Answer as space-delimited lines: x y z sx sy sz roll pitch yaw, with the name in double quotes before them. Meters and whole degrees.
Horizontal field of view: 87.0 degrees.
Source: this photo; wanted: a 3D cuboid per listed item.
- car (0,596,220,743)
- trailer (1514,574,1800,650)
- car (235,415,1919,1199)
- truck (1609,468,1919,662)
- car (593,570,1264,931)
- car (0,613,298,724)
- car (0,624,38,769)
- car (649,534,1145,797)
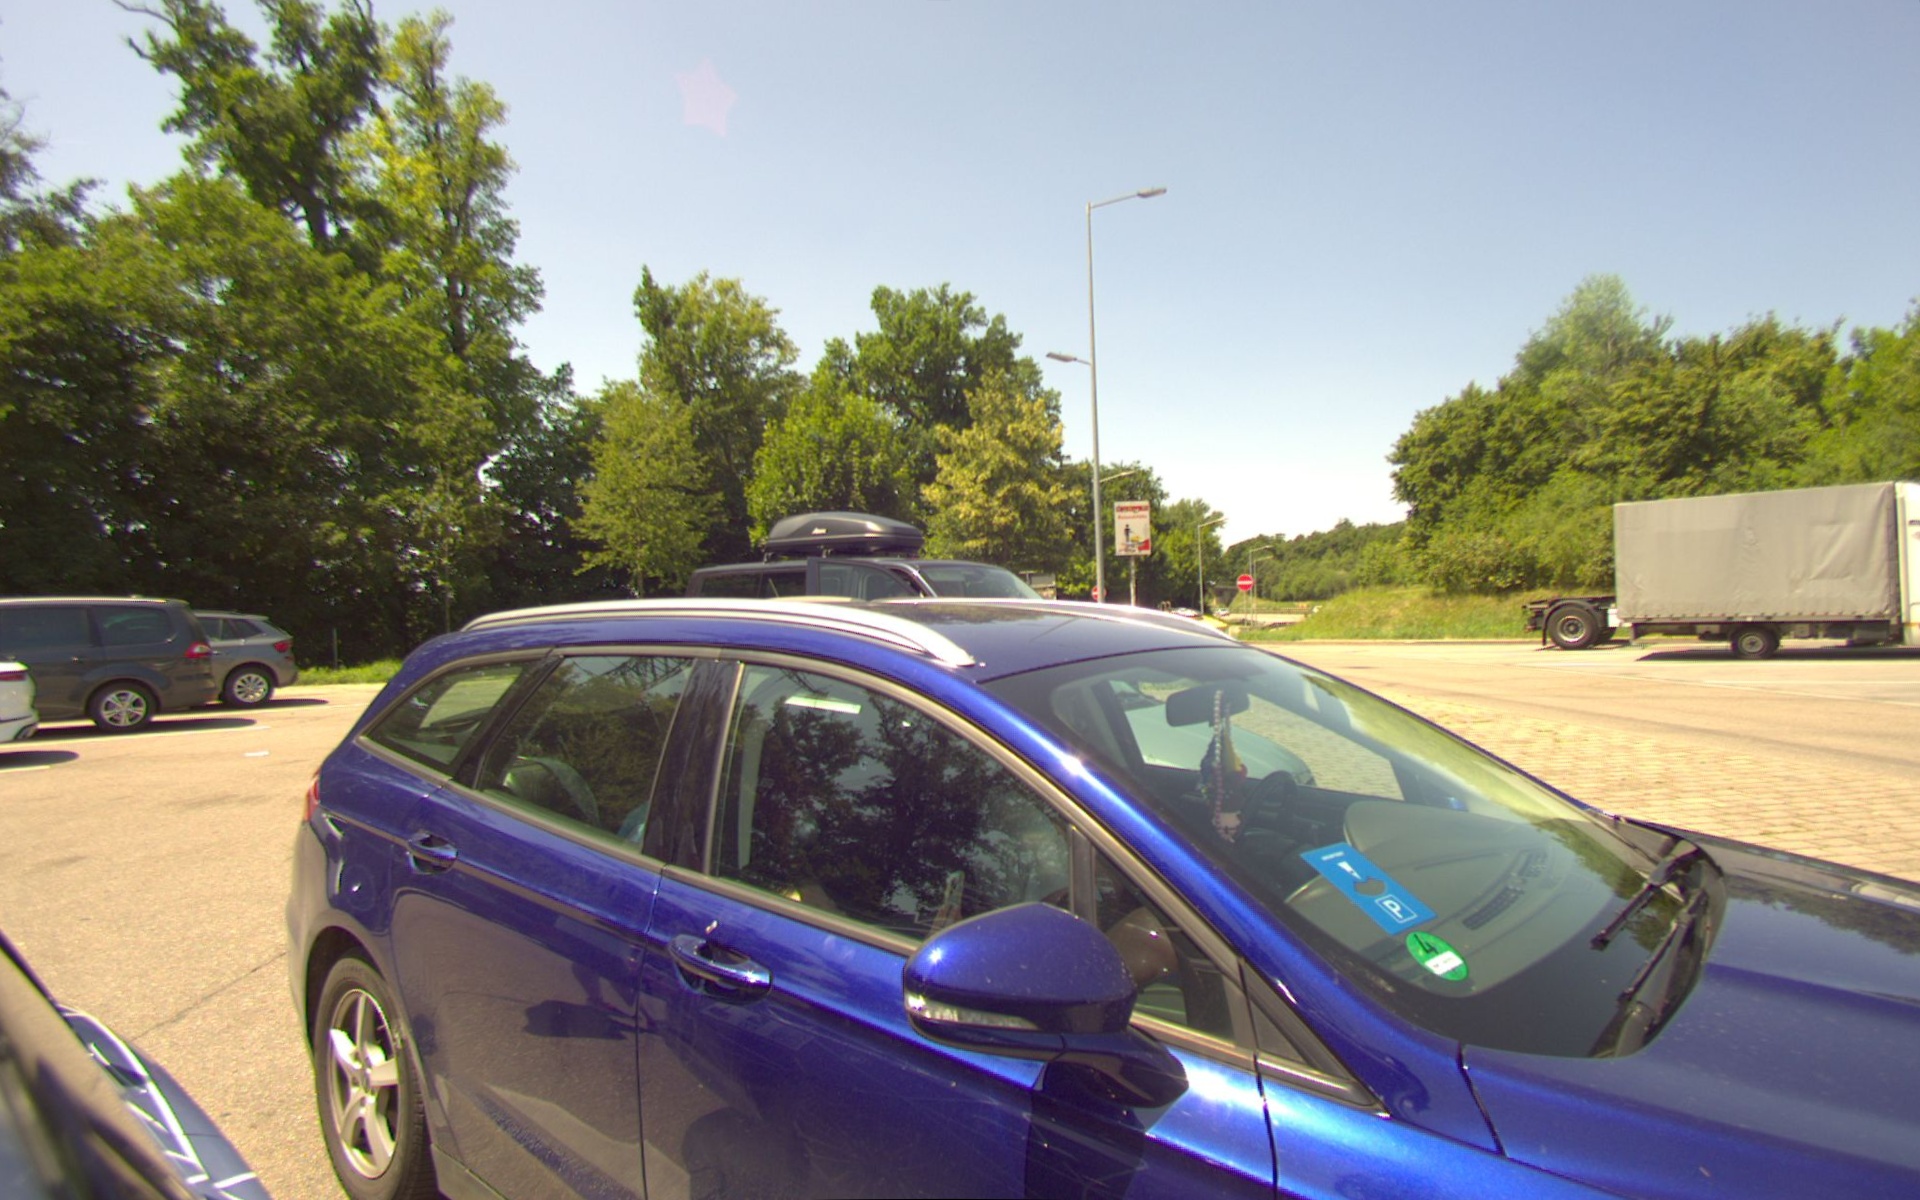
"car" -11.730 0.832 12.600 3.830 1.703 1.883 0 -2 -45
"trailer" 16.314 0.343 23.933 5.393 1.608 1.576 -2 -1 41
"car" 0.223 0.648 2.099 4.427 1.455 1.763 -2 -1 40
"truck" 16.693 -0.621 18.860 7.308 3.258 2.294 -5 -2 43
"car" -0.381 0.647 5.820 3.739 1.424 1.587 -2 -1 40
"car" -12.613 0.968 15.626 3.753 1.488 1.743 0 -1 -45
"car" -10.976 0.940 9.212 3.753 1.377 1.804 0 -1 -45
"car" -0.749 0.530 9.431 4.426 1.875 2.022 -2 -1 40
